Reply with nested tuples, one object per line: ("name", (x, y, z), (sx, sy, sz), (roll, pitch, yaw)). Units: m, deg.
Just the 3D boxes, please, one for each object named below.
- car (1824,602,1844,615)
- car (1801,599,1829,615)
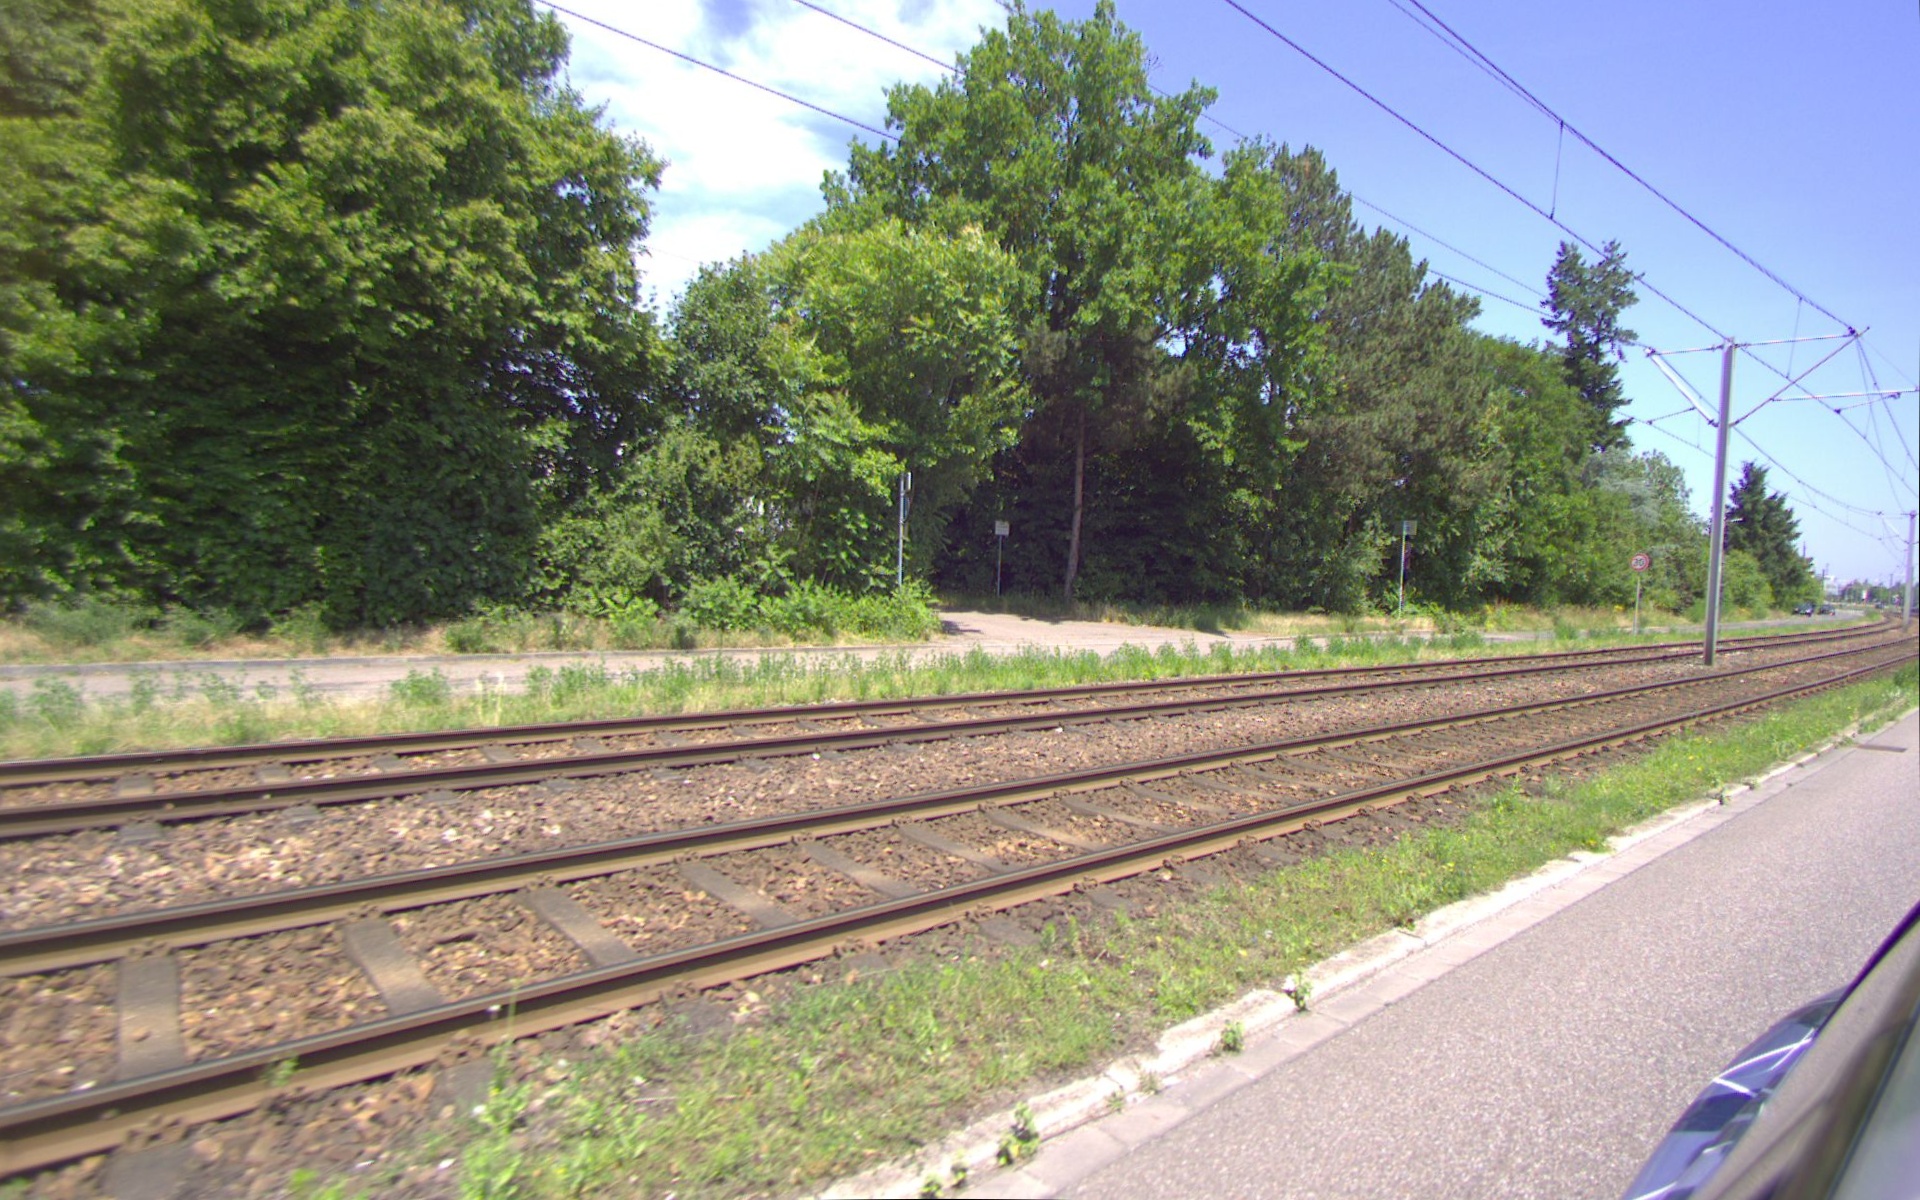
("car", (118.902, 1.163, 137.676), (1.940, 1.716, 3.939), (0, 0, 42))
("car", (96.800, 0.757, 114.620), (3.933, 1.742, 1.995), (0, 0, -43))
